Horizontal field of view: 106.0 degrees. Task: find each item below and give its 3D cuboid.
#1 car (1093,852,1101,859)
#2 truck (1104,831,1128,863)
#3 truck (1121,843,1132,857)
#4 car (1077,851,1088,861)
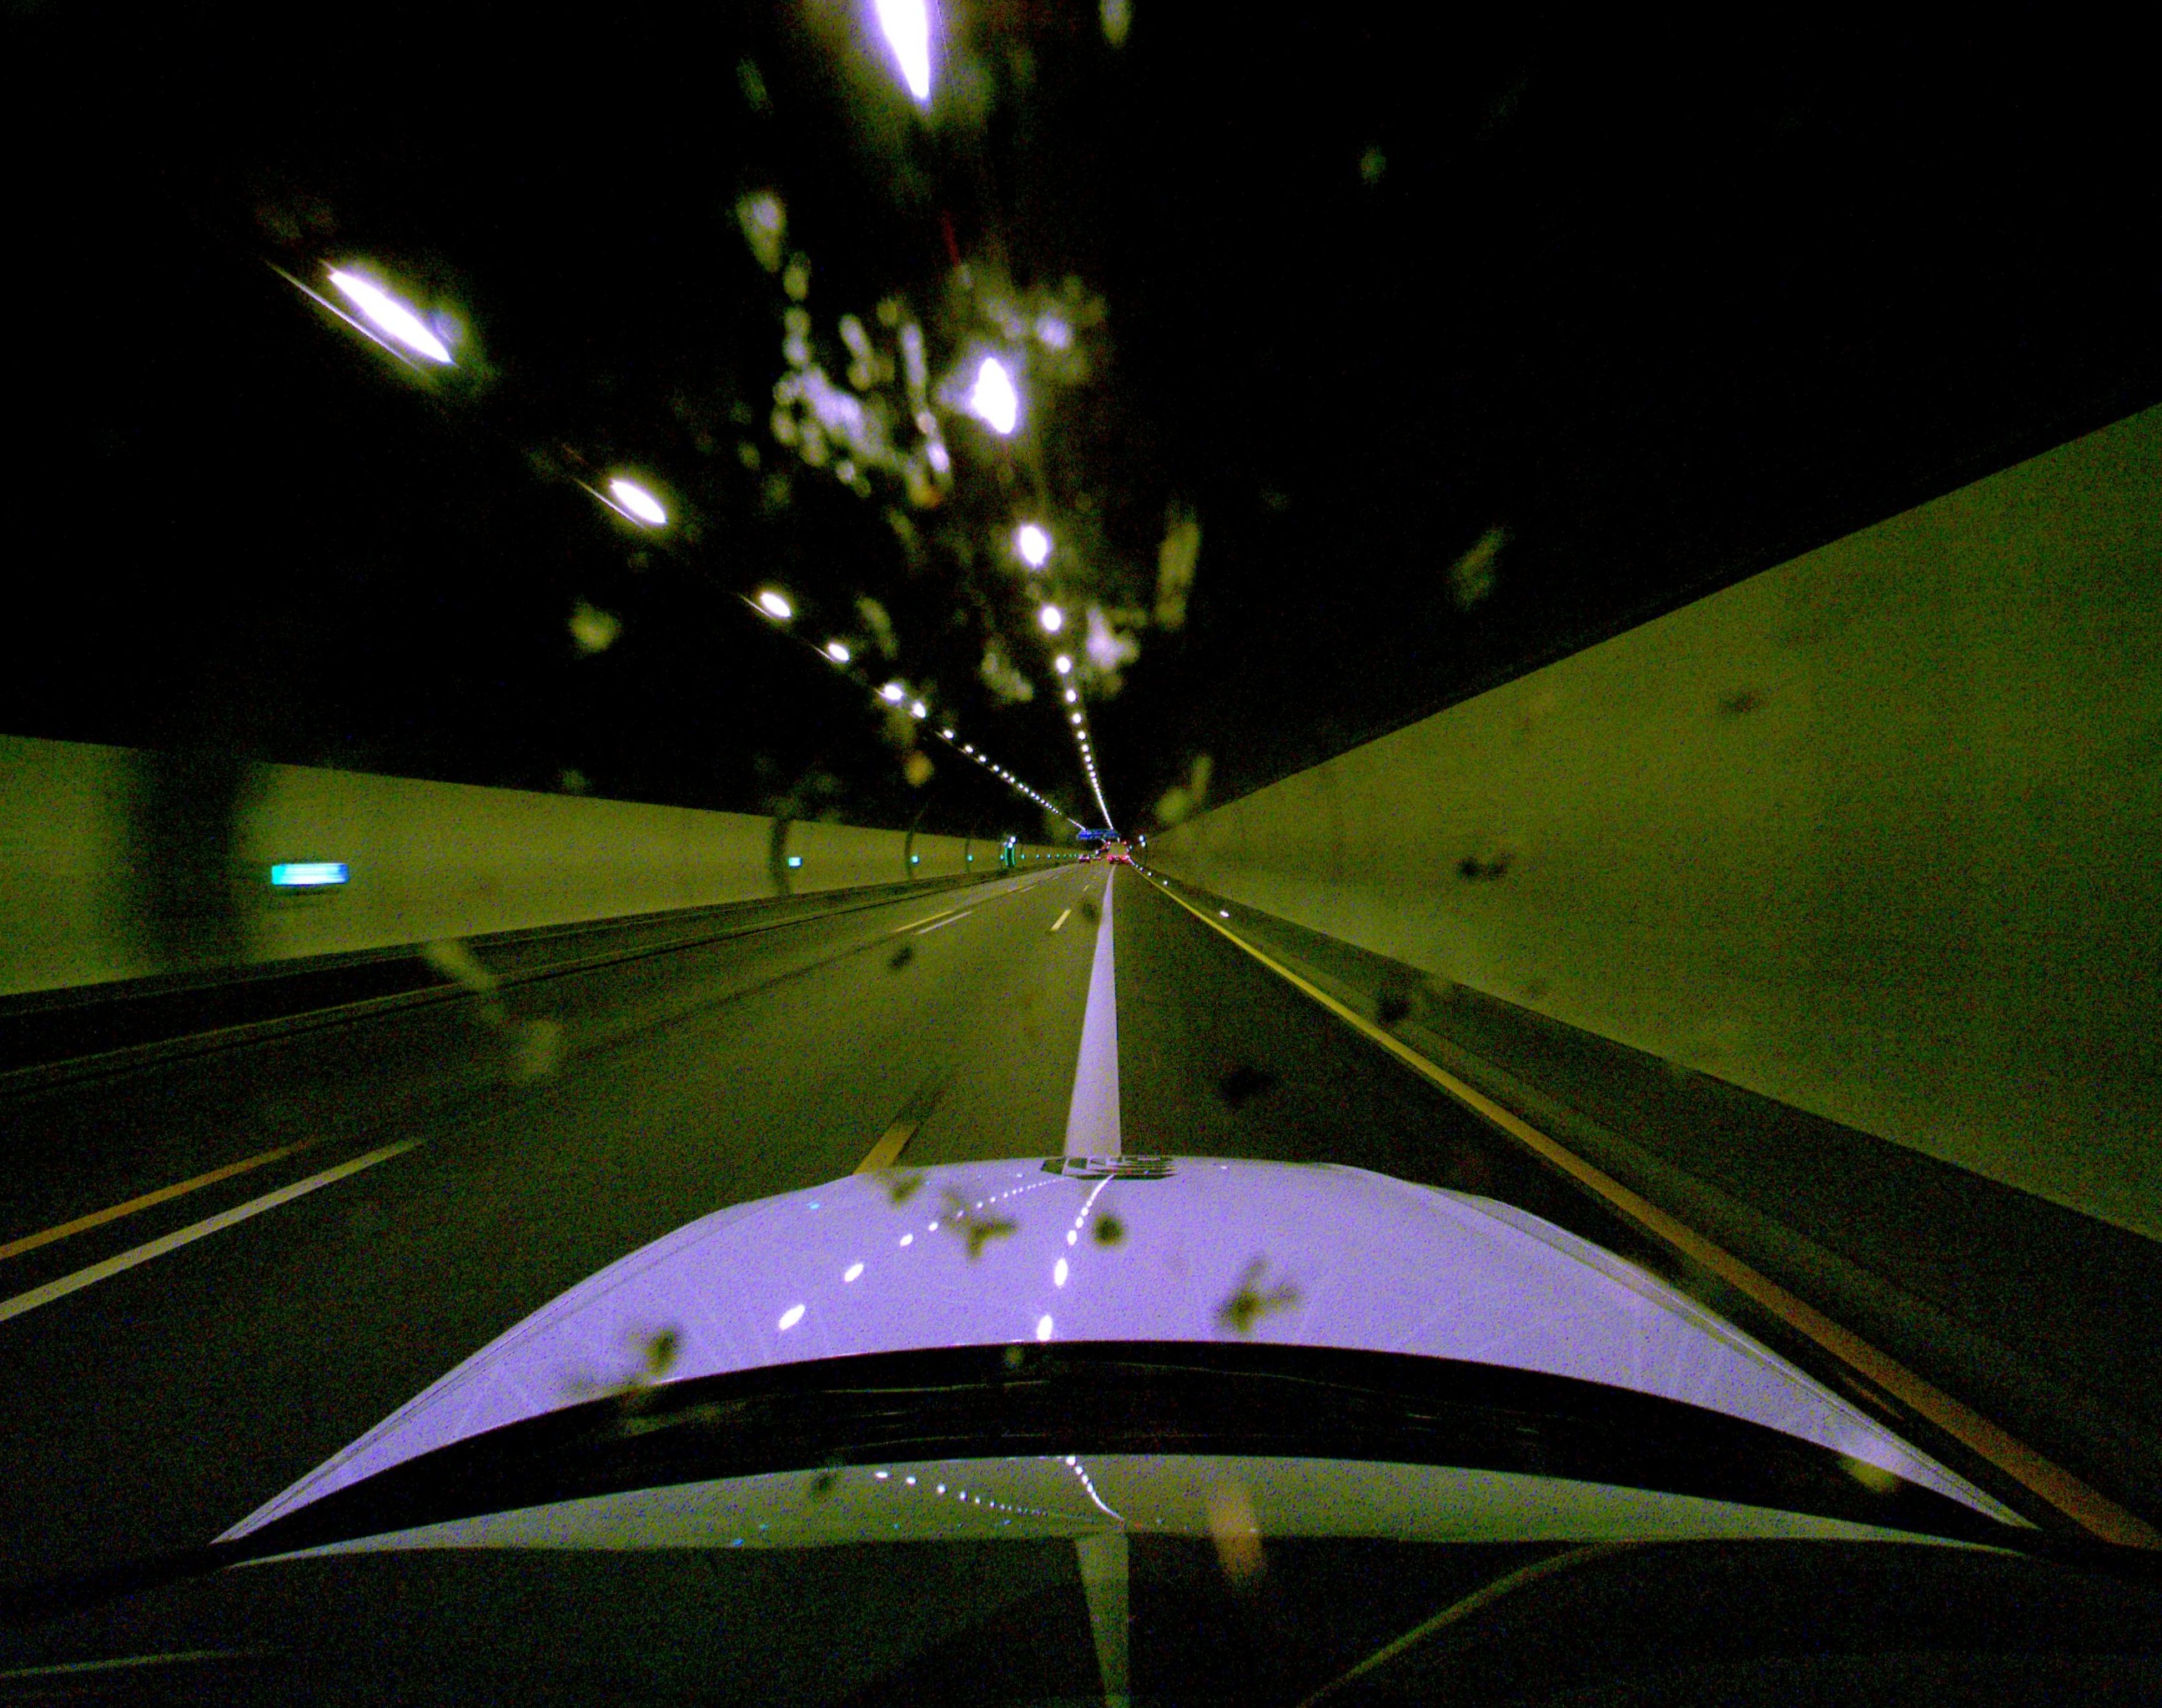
[{"bbox_3d":[3.981,0.474,197.917,1.807,1.519,3.999,-2,2,-1],"label":"car"},{"bbox_3d":[5.670,-1.092,133.941,3.267,4.650,17.288,-3,0,1],"label":"truck"},{"bbox_3d":[13.912,-1.126,249.644,2.912,4.047,14.033,-3,0,1],"label":"truck"},{"bbox_3d":[0.236,0.339,142.259,1.806,1.618,4.000,-2,0,0],"label":"car"}]
